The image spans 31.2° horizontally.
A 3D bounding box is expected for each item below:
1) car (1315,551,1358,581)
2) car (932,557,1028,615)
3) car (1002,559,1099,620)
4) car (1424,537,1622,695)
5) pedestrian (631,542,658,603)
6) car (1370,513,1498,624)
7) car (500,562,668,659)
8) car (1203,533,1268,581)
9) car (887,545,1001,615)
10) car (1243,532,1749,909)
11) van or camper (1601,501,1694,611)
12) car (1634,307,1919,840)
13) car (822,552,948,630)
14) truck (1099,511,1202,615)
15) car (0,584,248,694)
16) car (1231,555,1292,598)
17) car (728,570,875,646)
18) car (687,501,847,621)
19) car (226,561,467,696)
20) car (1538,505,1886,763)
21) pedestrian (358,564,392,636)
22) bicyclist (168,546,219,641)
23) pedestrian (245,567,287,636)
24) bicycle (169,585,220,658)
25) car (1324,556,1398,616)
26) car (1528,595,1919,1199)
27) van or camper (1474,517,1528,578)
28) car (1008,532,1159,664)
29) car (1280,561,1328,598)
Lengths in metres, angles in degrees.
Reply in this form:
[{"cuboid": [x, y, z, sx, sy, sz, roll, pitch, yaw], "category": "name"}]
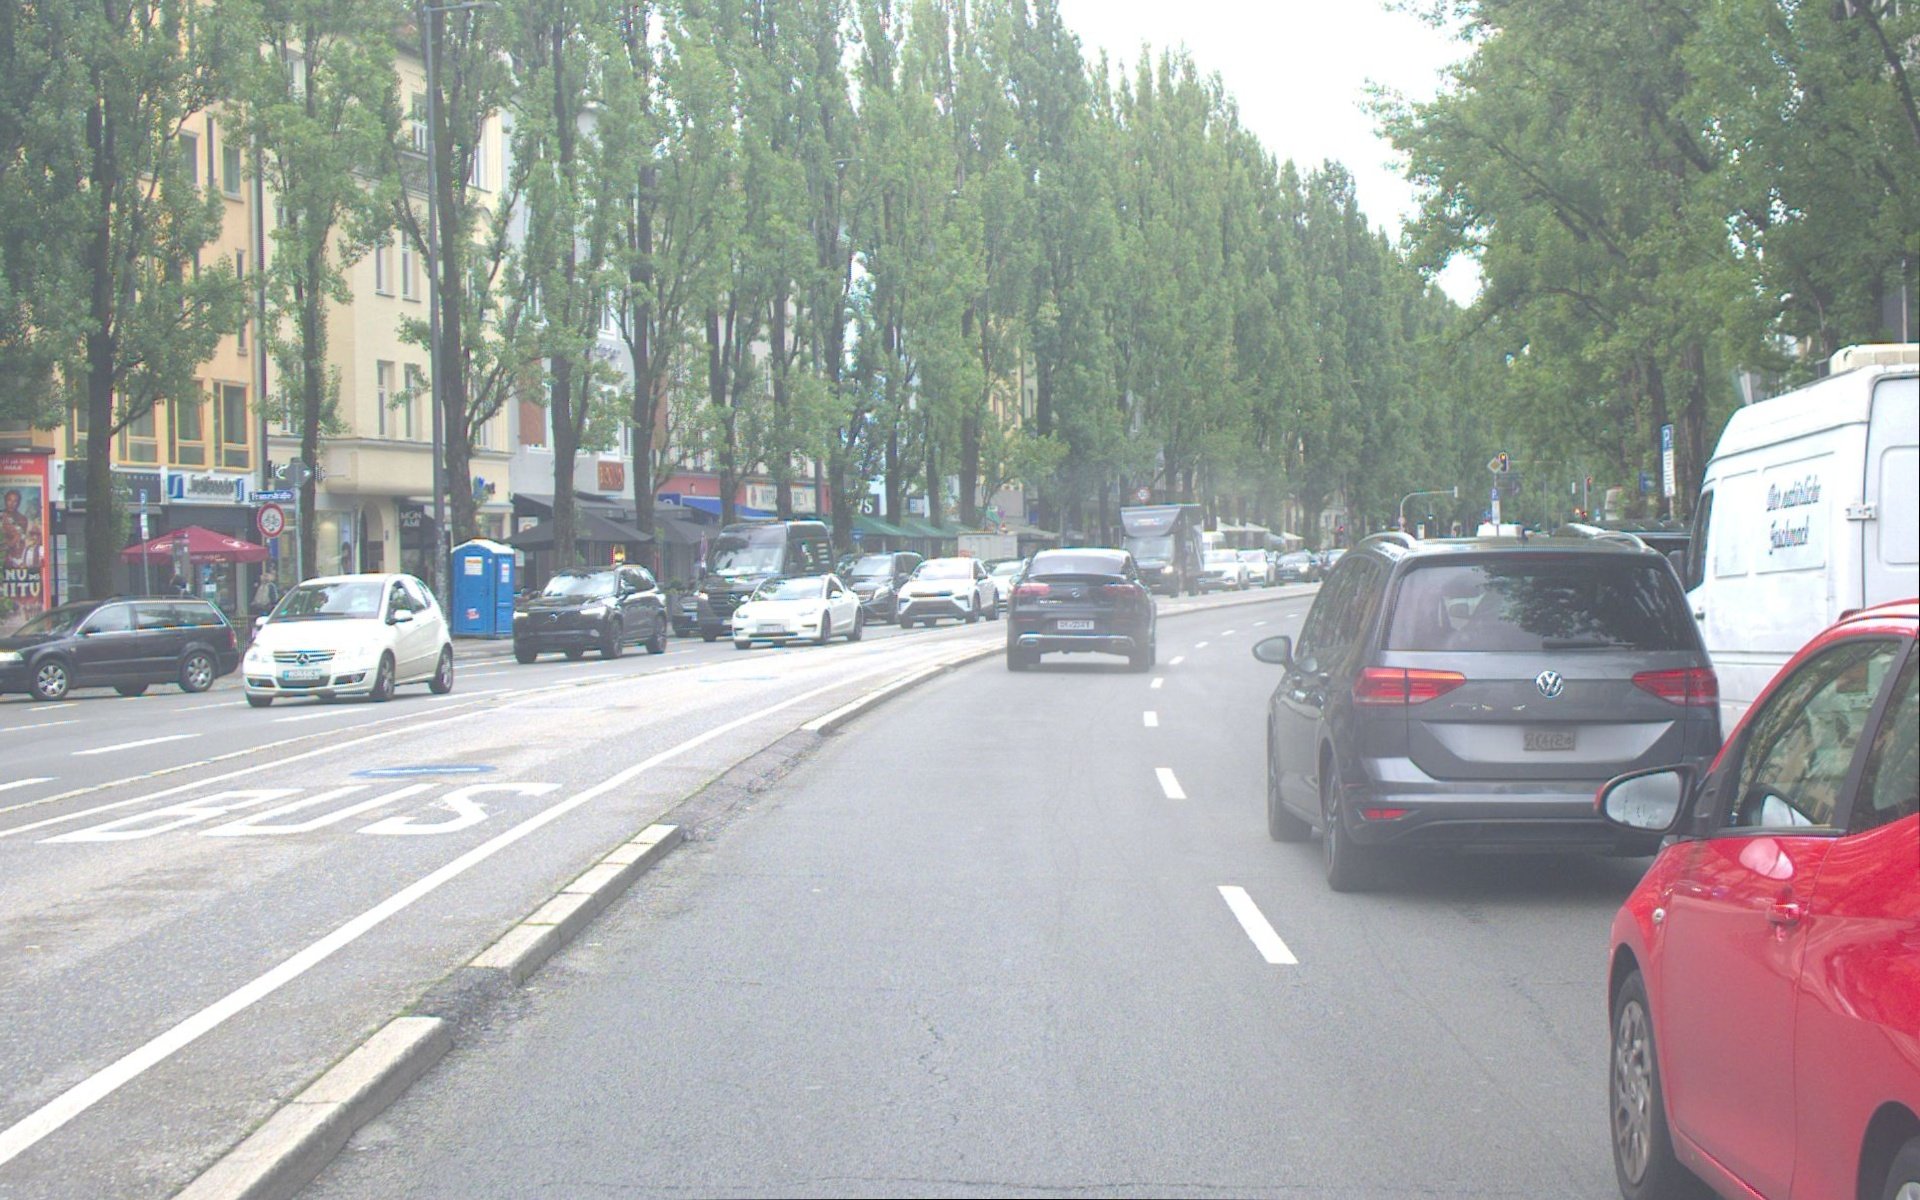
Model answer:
[{"cuboid": [18.492, -1.675, 168.854, 1.712, 1.409, 3.721, -1, 1, 12], "category": "car"}, {"cuboid": [0.649, -0.451, 104.748, 1.994, 1.645, 4.634, -2, 1, 12], "category": "car"}, {"cuboid": [2.600, -0.317, 97.974, 1.994, 1.583, 5.193, -3, 1, 10], "category": "car"}, {"cuboid": [6.284, 0.142, 38.742, 1.727, 1.680, 4.408, 0, 1, 3], "category": "car"}, {"cuboid": [-9.710, -0.847, 105.875, 0.638, 1.855, 0.647, -1, 1, 12], "category": "pedestrian"}, {"cuboid": [7.597, -0.491, 55.074, 1.925, 1.694, 4.648, 0, 0, 8], "category": "car"}, {"cuboid": [-7.111, 0.166, 65.519, 2.019, 1.710, 4.981, -1, 1, 8], "category": "car"}, {"cuboid": [10.407, -1.642, 129.644, 1.861, 1.705, 4.534, -2, 1, 12], "category": "car"}, {"cuboid": [-0.359, -0.497, 82.683, 1.910, 1.597, 4.353, -1, 1, 11], "category": "car"}, {"cuboid": [2.466, 0.487, 16.801, 1.761, 1.608, 4.184, 0, 1, -1], "category": "car"}, {"cuboid": [20.289, -1.312, 101.356, 2.461, 3.101, 4.713, -2, 1, 13], "category": "van or camper"}, {"cuboid": [5.506, -0.140, 20.413, 1.993, 2.732, 5.554, 0, 0, 1], "category": "car"}, {"cuboid": [-1.909, -0.270, 89.467, 1.994, 1.857, 5.709, -3, 0, 11], "category": "car"}, {"cuboid": [6.454, -1.273, 115.414, 2.292, 3.311, 7.154, -2, 1, 12], "category": "truck"}, {"cuboid": [-12.879, 0.559, 50.830, 1.926, 1.434, 4.499, -1, 1, 34], "category": "car"}, {"cuboid": [12.216, -0.979, 138.987, 1.940, 1.636, 4.461, -2, 1, 11], "category": "car"}, {"cuboid": [-3.128, 0.130, 68.988, 1.800, 1.389, 4.688, -1, 1, 12], "category": "car"}, {"cuboid": [-4.345, -0.901, 78.410, 2.171, 2.596, 6.061, -1, 1, 11], "category": "car"}, {"cuboid": [-7.720, 0.320, 43.607, 1.954, 1.584, 3.999, -1, 1, 6], "category": "car"}, {"cuboid": [5.690, 0.209, 26.593, 1.929, 1.799, 4.779, 0, 1, 4], "category": "car"}, {"cuboid": [-14.274, -0.004, 83.890, 0.539, 1.741, 0.755, 0, 1, 12], "category": "pedestrian"}, {"cuboid": [-12.980, -0.109, 58.243, 0.502, 1.587, 0.834, -1, 1, 12], "category": "bicyclist"}, {"cuboid": [-15.901, 0.035, 78.796, 0.634, 1.556, 0.815, -1, 1, 14], "category": "pedestrian"}, {"cuboid": [-12.965, 0.362, 58.235, 0.368, 1.197, 1.153, -1, 1, 13], "category": "bicycle"}, {"cuboid": [11.057, -0.378, 94.625, 1.760, 1.614, 3.745, 0, 0, 10], "category": "car"}, {"cuboid": [2.270, 0.721, 6.776, 1.665, 1.441, 3.596, 0, 0, 0], "category": "car"}, {"cuboid": [23.116, -2.239, 146.940, 2.035, 2.467, 3.998, -1, -1, 12], "category": "van or camper"}, {"cuboid": [1.665, -0.063, 46.040, 1.881, 1.636, 4.583, -1, 1, 2], "category": "car"}, {"cuboid": [15.300, -0.910, 152.816, 1.668, 1.590, 3.998, 0, 0, 12], "category": "car"}]
